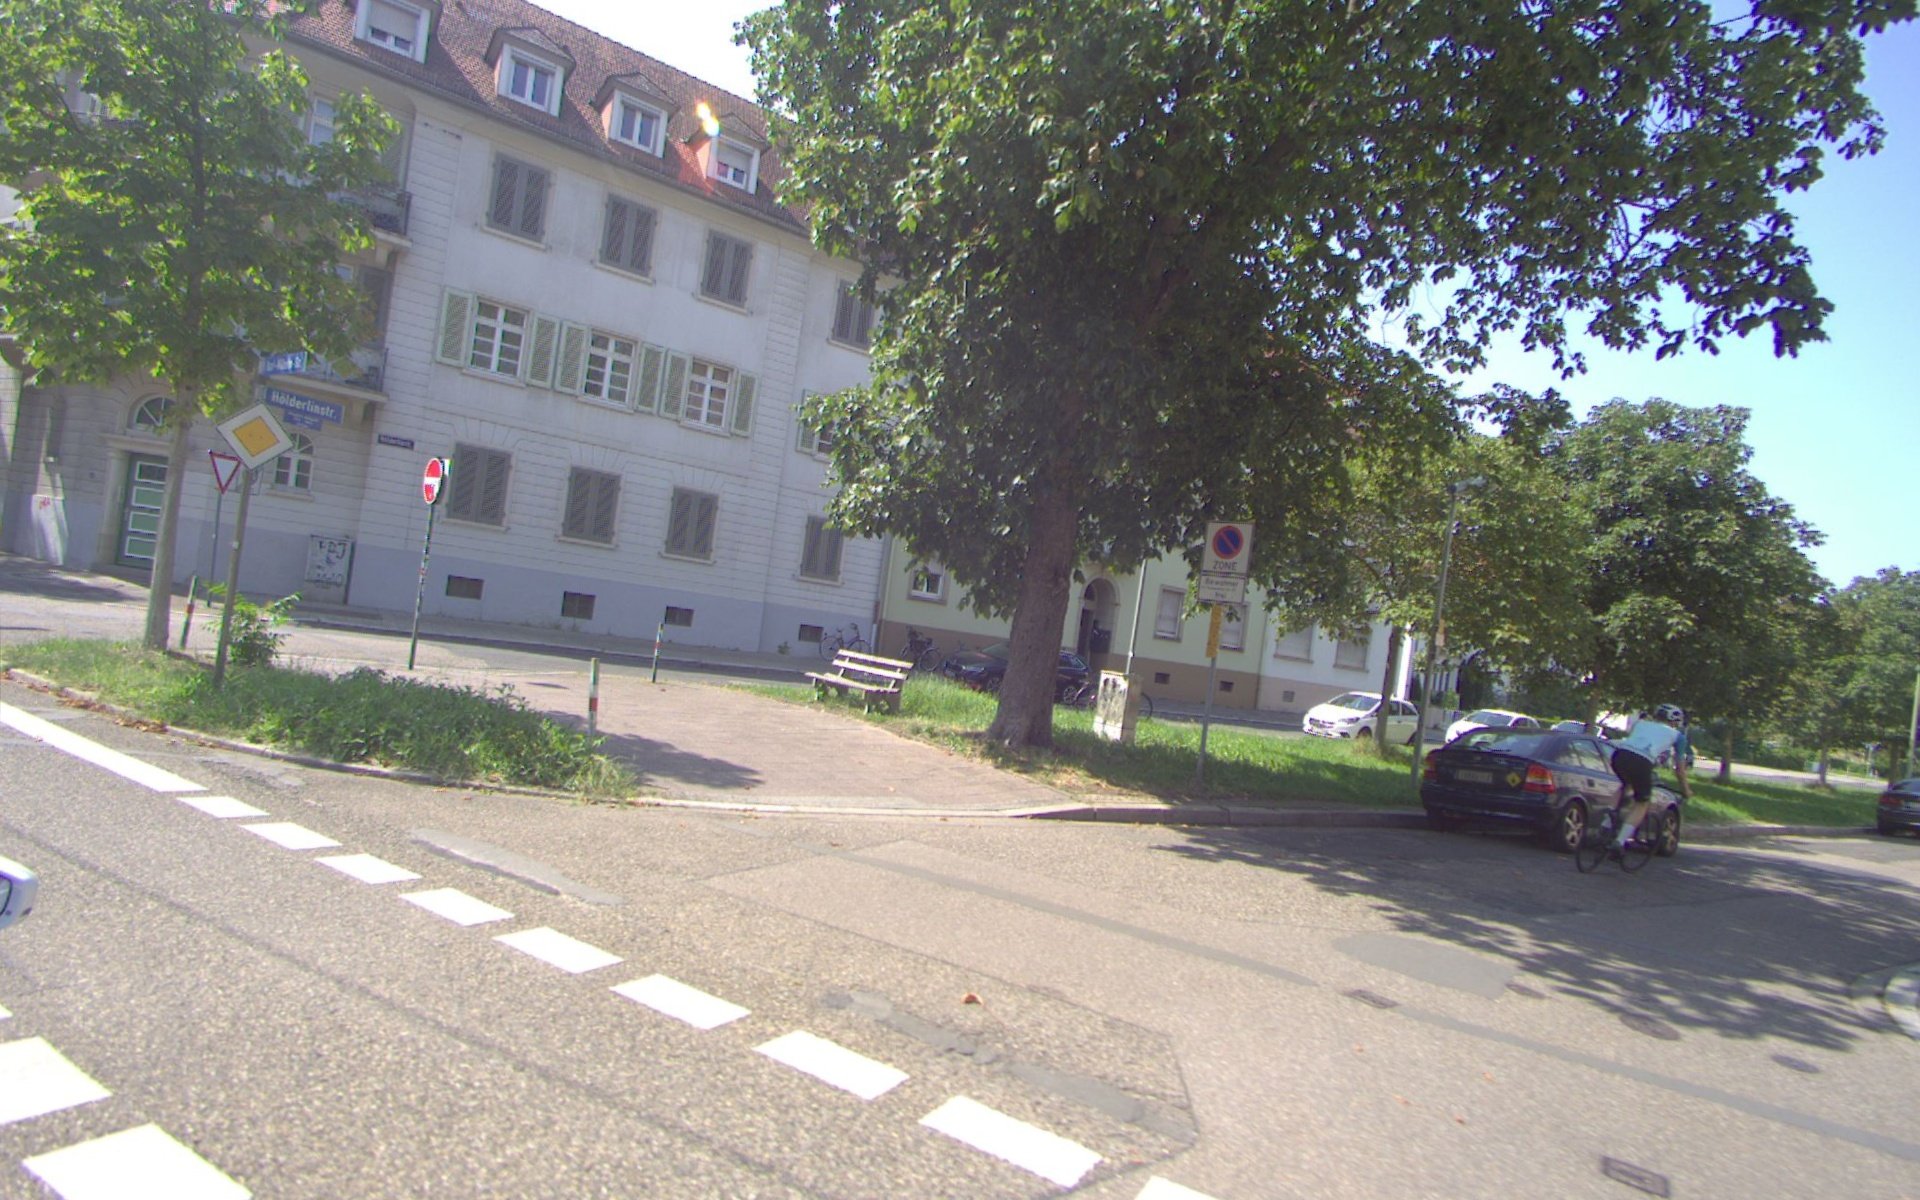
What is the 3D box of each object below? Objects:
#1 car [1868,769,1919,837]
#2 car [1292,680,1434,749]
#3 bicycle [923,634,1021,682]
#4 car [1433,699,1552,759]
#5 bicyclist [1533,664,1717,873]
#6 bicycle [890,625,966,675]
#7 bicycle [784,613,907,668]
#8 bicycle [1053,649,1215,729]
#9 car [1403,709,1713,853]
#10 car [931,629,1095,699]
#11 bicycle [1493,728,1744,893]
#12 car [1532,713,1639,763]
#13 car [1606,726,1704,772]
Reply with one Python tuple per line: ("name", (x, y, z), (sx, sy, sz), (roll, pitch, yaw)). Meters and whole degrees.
("car", (22.938, 4.826, 23.349), (3.913, 1.363, 1.747), (9, -3, -33))
("car", (11.292, 3.211, 28.120), (3.938, 1.454, 1.625), (9, -3, -33))
("bicycle", (0.382, 1.762, 30.527), (2.759, 1.040, 1.151), (11, -3, -38))
("car", (17.009, 4.121, 32.097), (3.748, 1.446, 1.625), (9, -3, -33))
("bicyclist", (6.716, 1.674, 10.181), (0.947, 1.858, 1.118), (8, -1, -35))
("bicycle", (-0.943, 1.430, 28.999), (1.005, 1.130, 2.252), (10, -3, -35))
("bicycle", (-3.164, 1.140, 28.057), (3.188, 1.040, 1.152), (10, -3, -35))
("bicycle", (3.503, 1.792, 20.040), (3.188, 1.125, 1.152), (10, -2, -35))
("car", (7.642, 2.314, 12.764), (3.913, 1.363, 1.747), (9, -3, -33))
("car", (1.489, 1.778, 27.737), (4.243, 1.398, 1.668), (9, -3, -33))
("bicycle", (6.702, 2.100, 10.181), (2.689, 1.284, 1.140), (9, -1, -36))
("car", (22.168, 4.898, 35.631), (3.851, 1.293, 1.686), (9, -3, -33))
("car", (26.760, 5.729, 38.720), (3.851, 1.293, 1.686), (9, -3, -33))
